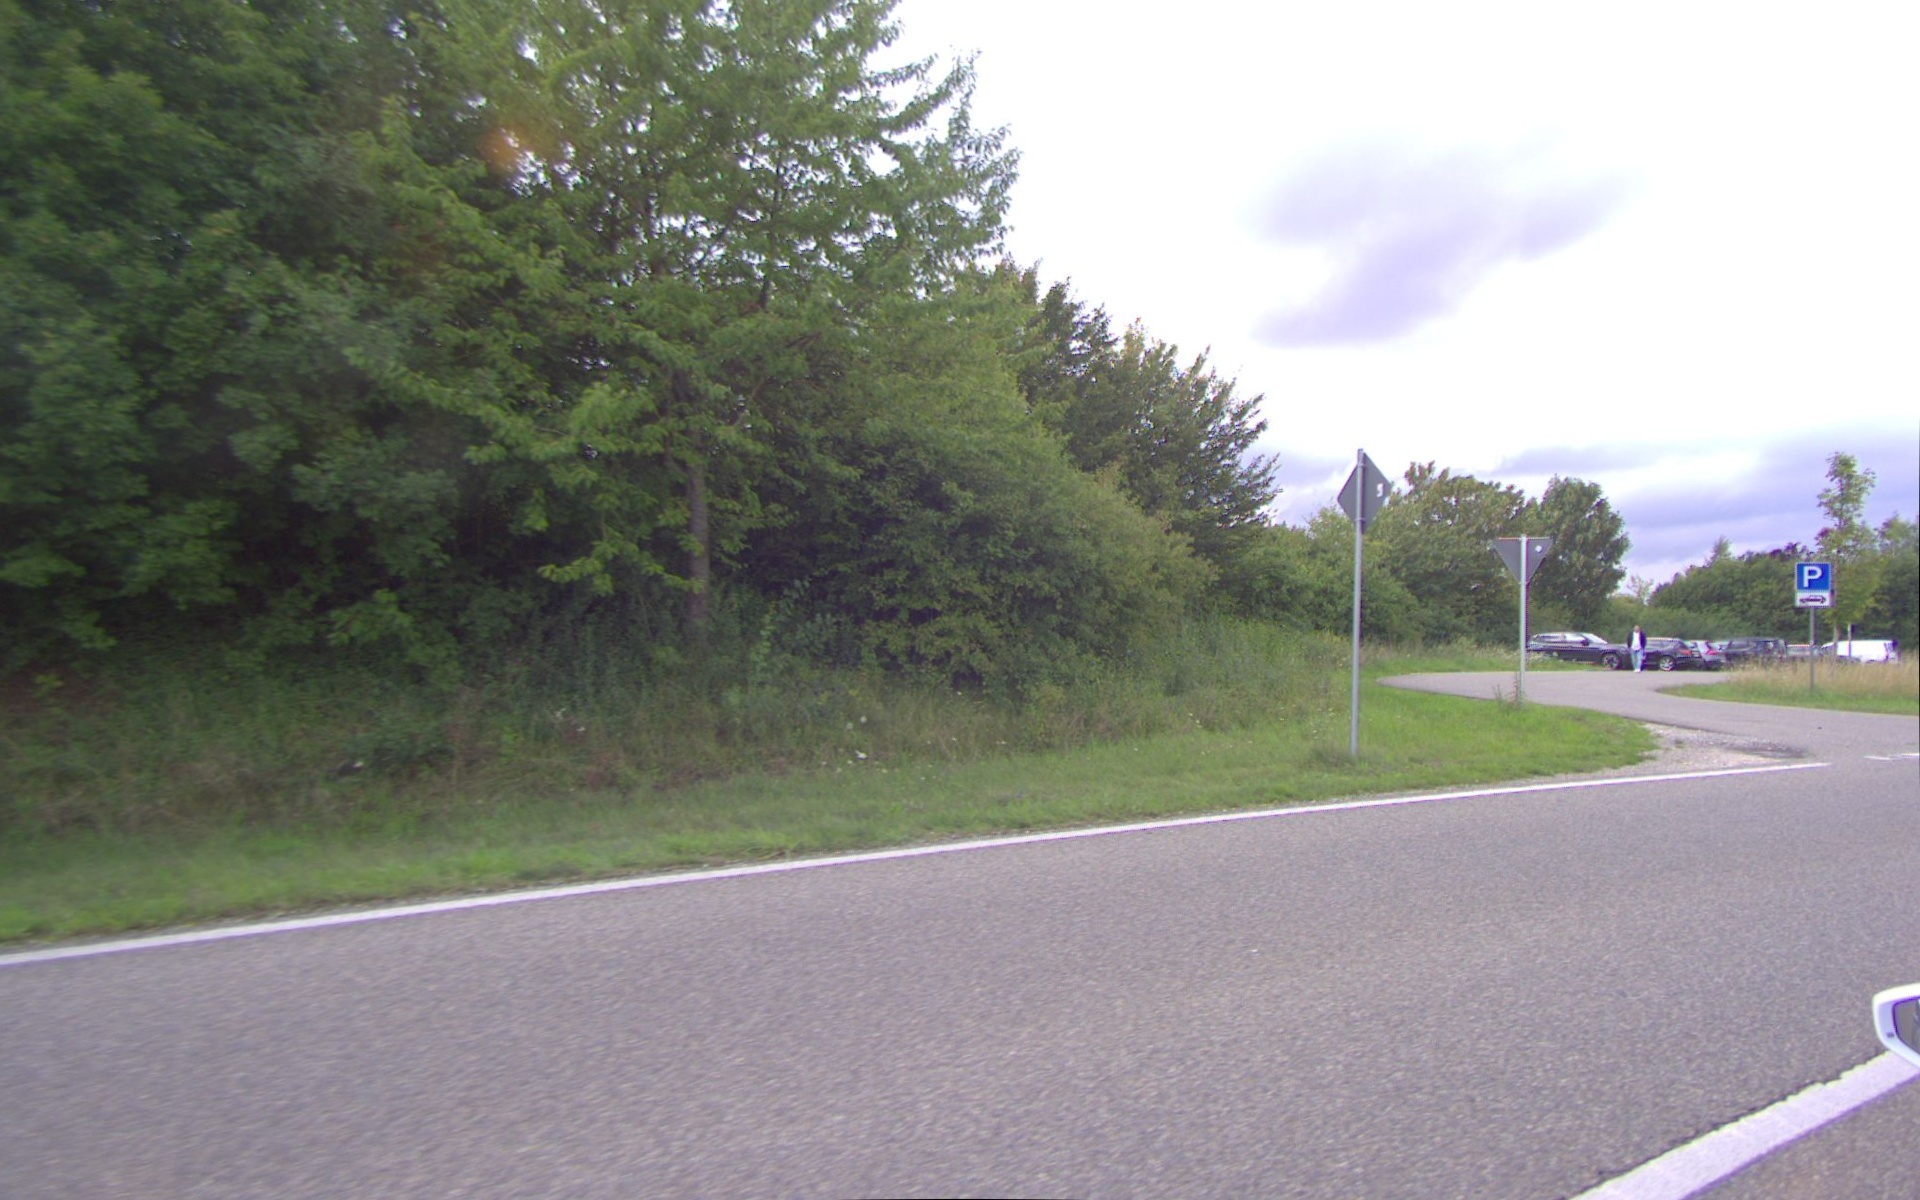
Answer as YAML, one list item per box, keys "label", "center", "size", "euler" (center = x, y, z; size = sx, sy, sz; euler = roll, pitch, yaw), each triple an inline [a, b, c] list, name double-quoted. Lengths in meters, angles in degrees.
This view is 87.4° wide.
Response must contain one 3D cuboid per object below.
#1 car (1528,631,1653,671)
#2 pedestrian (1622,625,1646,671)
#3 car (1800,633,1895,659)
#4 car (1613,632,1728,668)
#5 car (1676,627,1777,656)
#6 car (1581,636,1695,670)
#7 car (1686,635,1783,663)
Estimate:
- label: "car"
  center: [26.827, 2.136, 42.864]
  size: [1.740, 1.587, 4.213]
  euler: [2, -1, -35]
- label: "pedestrian"
  center: [25.081, 1.777, 37.375]
  size: [0.653, 1.689, 0.513]
  euler: [1, -1, -29]
- label: "car"
  center: [51.725, 2.636, 58.613]
  size: [1.463, 1.398, 3.957]
  euler: [2, -1, -38]
- label: "car"
  center: [34.294, 2.376, 48.598]
  size: [1.738, 1.587, 4.219]
  euler: [1, -1, -31]
- label: "car"
  center: [39.142, 2.102, 51.369]
  size: [1.466, 1.398, 3.949]
  euler: [2, -2, -43]
- label: "car"
  center: [30.971, 2.393, 46.010]
  size: [1.804, 1.398, 3.965]
  euler: [2, -1, -32]
- label: "car"
  center: [41.363, 2.584, 53.708]
  size: [1.465, 1.398, 3.950]
  euler: [2, -2, -42]
